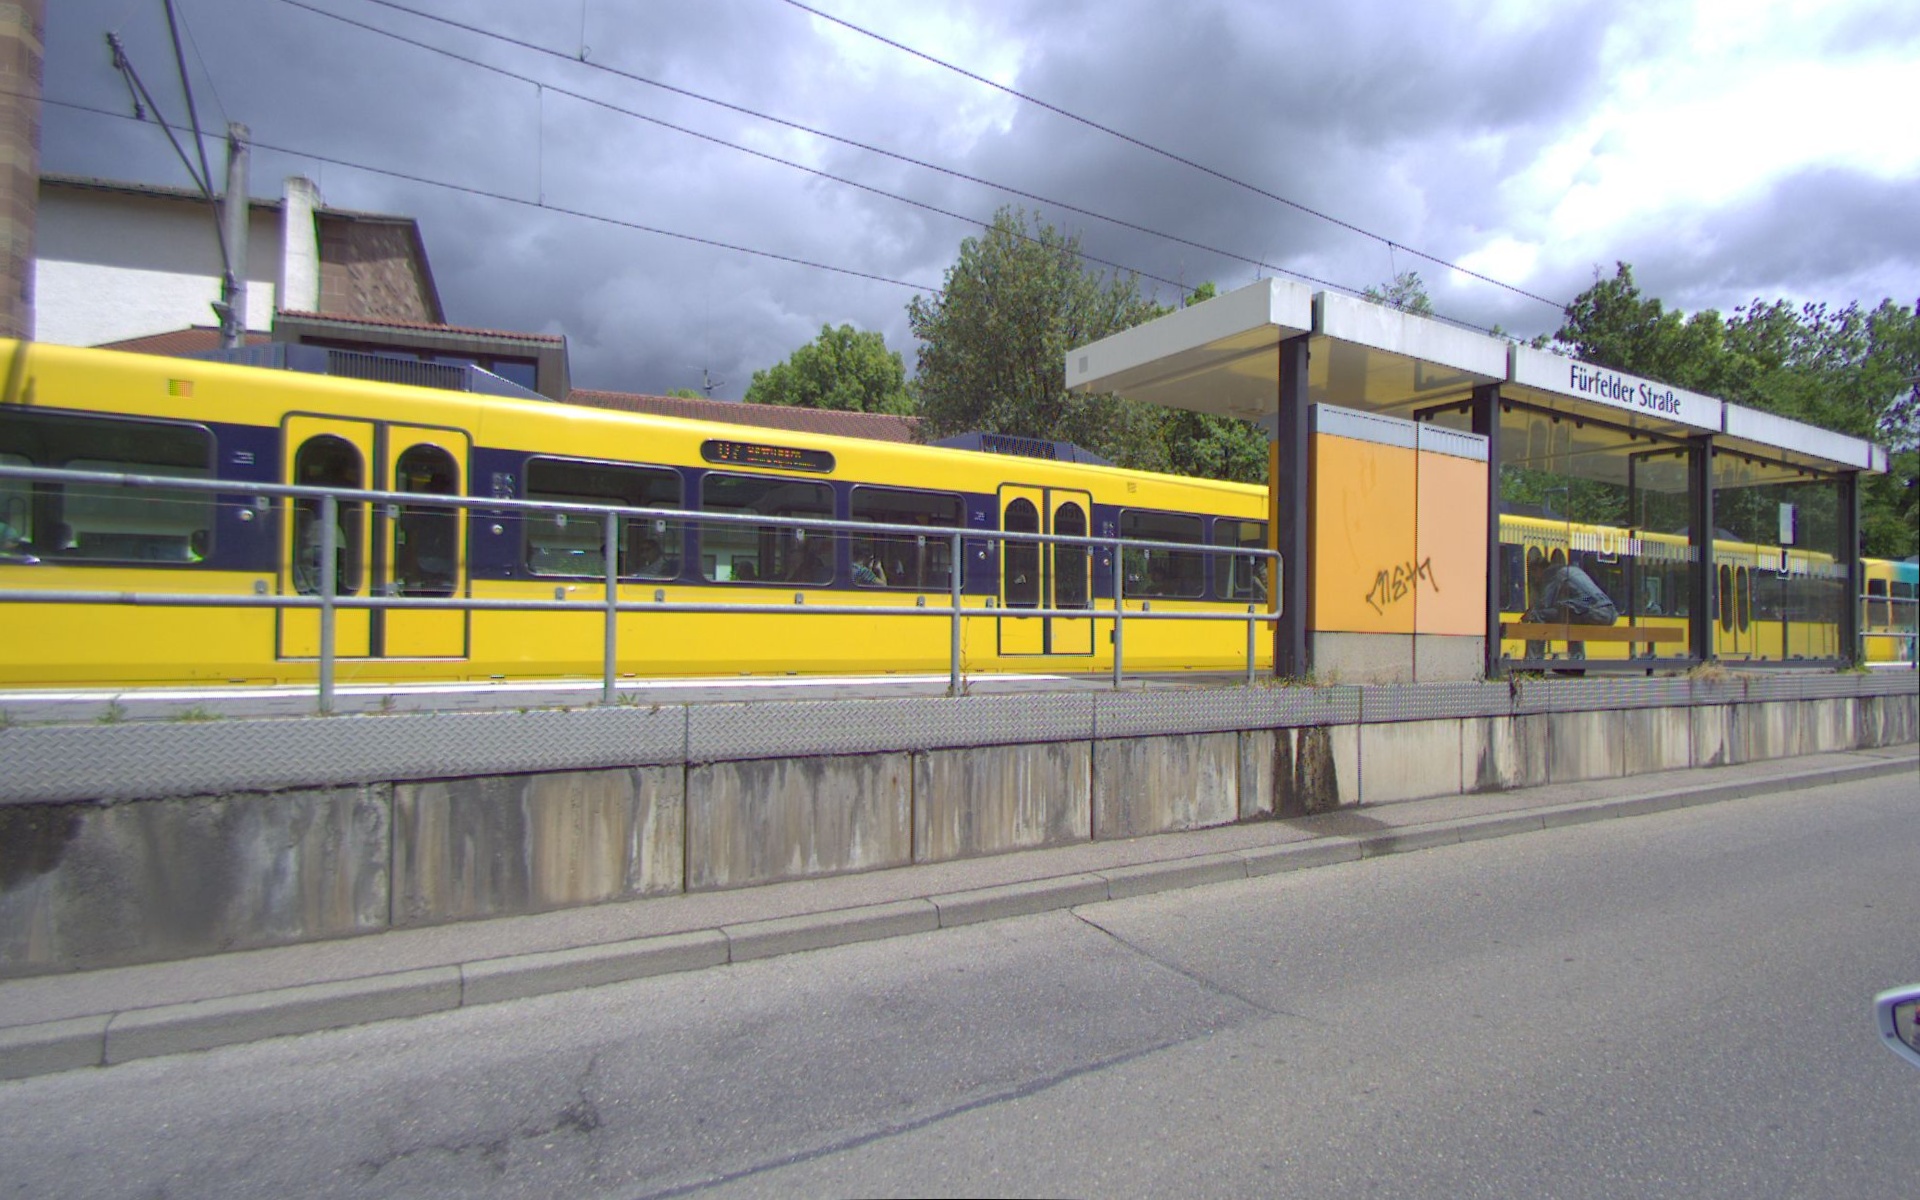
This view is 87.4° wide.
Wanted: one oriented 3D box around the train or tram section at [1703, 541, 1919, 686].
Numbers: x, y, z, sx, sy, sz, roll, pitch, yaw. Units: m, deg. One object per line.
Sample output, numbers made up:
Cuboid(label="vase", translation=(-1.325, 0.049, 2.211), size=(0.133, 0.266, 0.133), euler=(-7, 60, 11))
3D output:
Cuboid(label="train or tram section", translation=(28.904, 0.576, 30.498), size=(18.977, 3.511, 3.092), euler=(2, 0, -31))

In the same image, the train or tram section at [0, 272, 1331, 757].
Cuboid(label="train or tram section", translation=(-3.386, -0.489, 11.221), size=(18.608, 3.511, 3.092), euler=(2, 0, -31))

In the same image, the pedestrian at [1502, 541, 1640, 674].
Cuboid(label="pedestrian", translation=(5.865, 0.098, 9.654), size=(0.909, 1.202, 0.791), euler=(2, -3, -31))

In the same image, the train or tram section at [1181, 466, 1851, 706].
Cuboid(label="train or tram section", translation=(12.684, 0.042, 20.829), size=(18.777, 3.511, 3.092), euler=(2, 0, -31))
